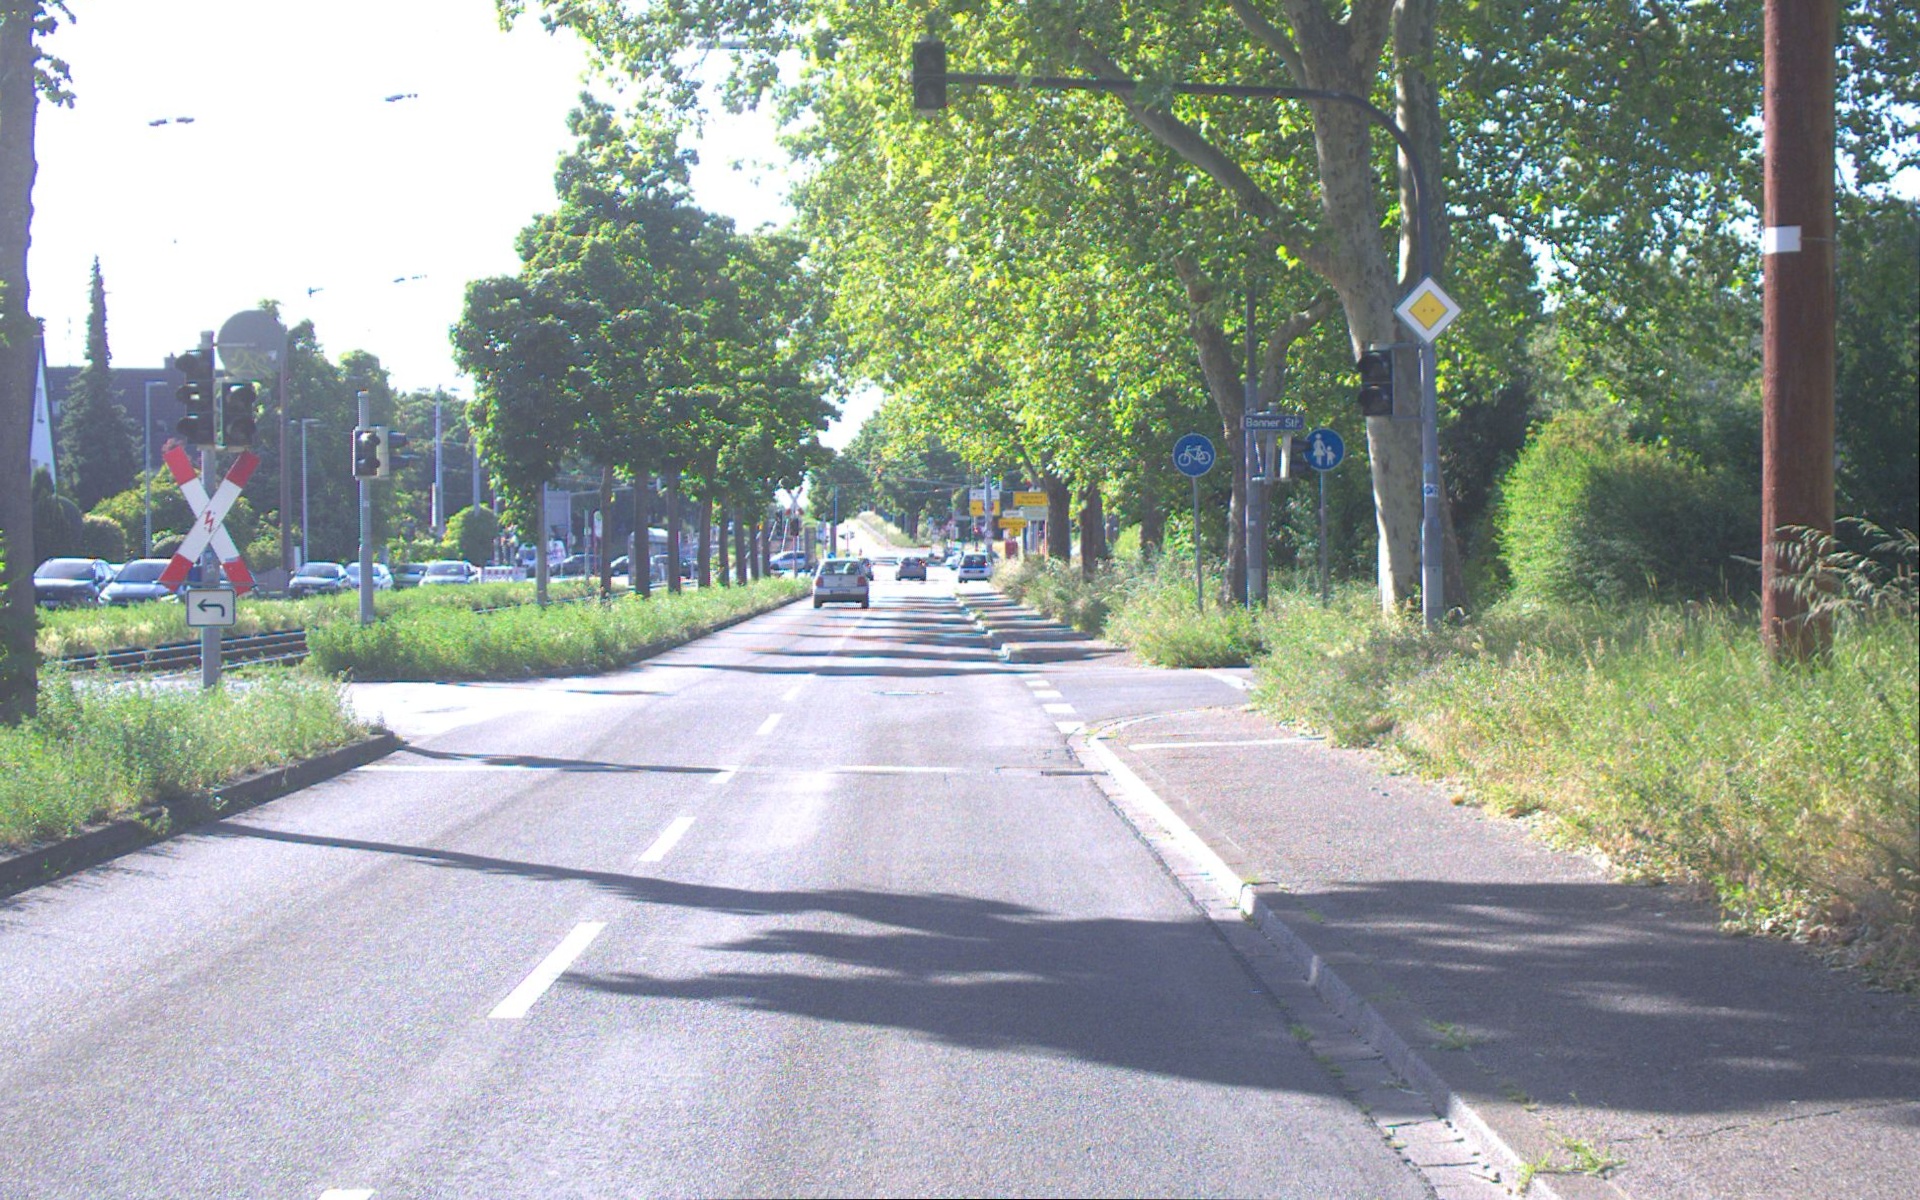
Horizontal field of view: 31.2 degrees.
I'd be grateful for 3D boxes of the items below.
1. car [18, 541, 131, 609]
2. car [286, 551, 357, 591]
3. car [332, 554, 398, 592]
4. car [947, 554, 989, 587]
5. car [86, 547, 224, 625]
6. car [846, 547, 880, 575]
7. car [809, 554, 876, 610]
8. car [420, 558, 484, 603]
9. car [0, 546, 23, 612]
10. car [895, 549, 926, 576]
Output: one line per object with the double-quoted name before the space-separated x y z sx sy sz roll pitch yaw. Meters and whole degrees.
"car" -22.429 -0.641 87.216 1.748 1.645 4.555 1 1 -1
"car" -23.198 -1.052 124.979 1.860 1.408 4.158 1 1 -1
"car" -23.320 -1.069 134.834 1.860 1.426 4.462 1 1 -1
"car" 0.378 -1.476 173.816 1.993 1.598 4.473 1 1 -1
"car" -17.460 -0.320 74.779 1.993 1.598 4.473 1 1 -1
"car" -5.859 -2.358 208.371 1.993 1.598 4.473 1 1 -1
"car" -3.438 -0.536 100.950 1.860 1.595 4.228 1 1 -1
"car" -18.225 -0.722 123.434 1.660 1.547 4.811 1 1 -1
"car" -22.080 -0.485 75.600 1.729 1.461 4.603 1 1 -1
"car" -2.975 -2.256 205.123 1.791 1.554 4.228 1 1 -1
